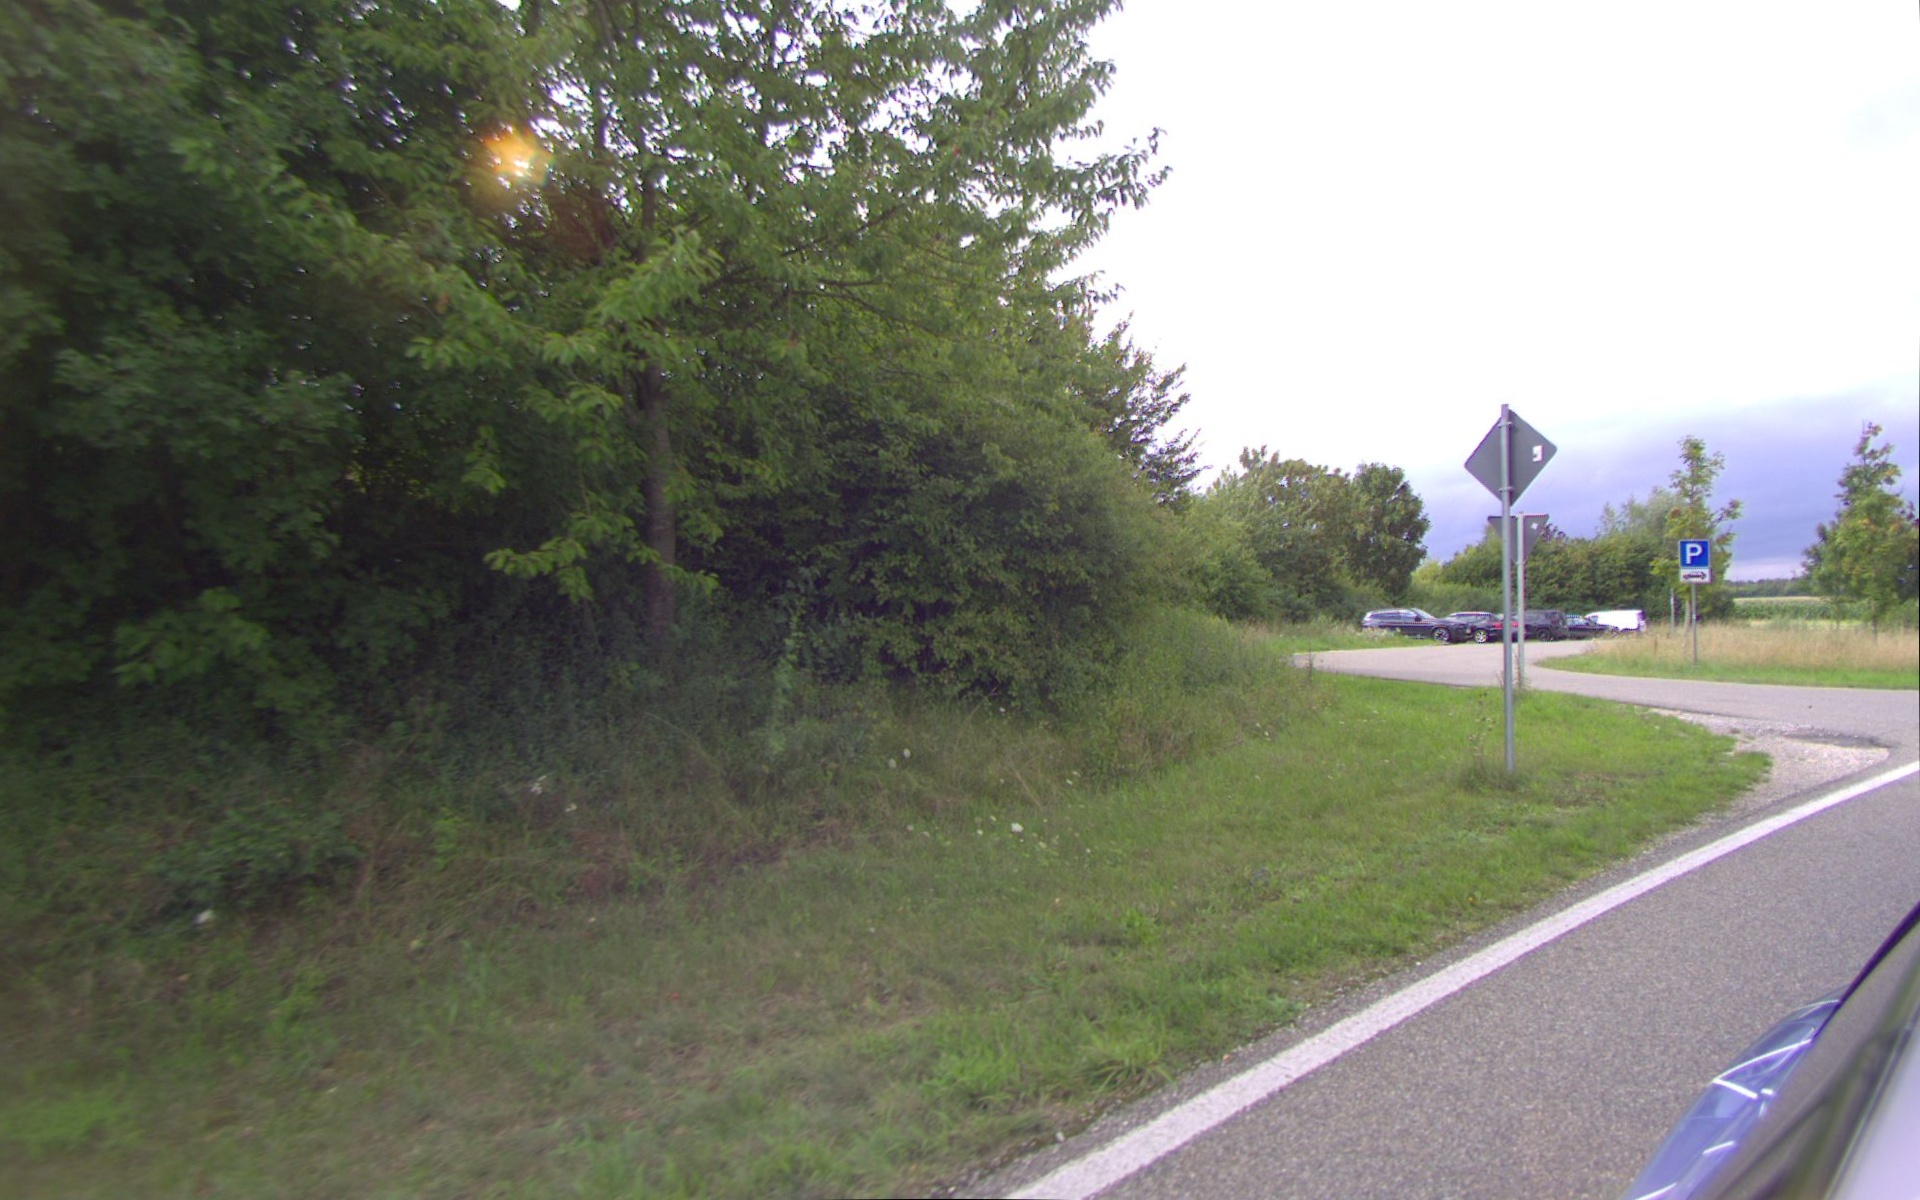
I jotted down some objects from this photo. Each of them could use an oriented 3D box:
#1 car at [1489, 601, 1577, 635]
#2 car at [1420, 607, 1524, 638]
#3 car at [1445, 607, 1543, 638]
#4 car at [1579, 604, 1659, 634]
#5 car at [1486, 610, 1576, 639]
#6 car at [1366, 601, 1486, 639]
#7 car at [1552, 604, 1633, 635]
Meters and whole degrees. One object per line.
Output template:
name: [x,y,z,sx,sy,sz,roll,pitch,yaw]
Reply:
car: [32.828,1.011,57.999,1.967,1.883,3.990,0,-1,-43]
car: [24.853,1.071,49.191,4.150,1.432,1.969,-1,-1,43]
car: [27.237,1.136,51.707,2.016,1.524,4.003,0,-1,-41]
car: [42.322,1.224,65.048,1.967,1.883,3.990,0,-1,-43]
car: [31.251,1.324,55.443,3.985,1.516,1.969,-1,-1,43]
car: [20.698,0.879,45.047,4.476,1.601,1.969,-1,-1,43]
car: [39.565,1.223,63.365,1.715,1.883,3.990,0,-1,-43]
